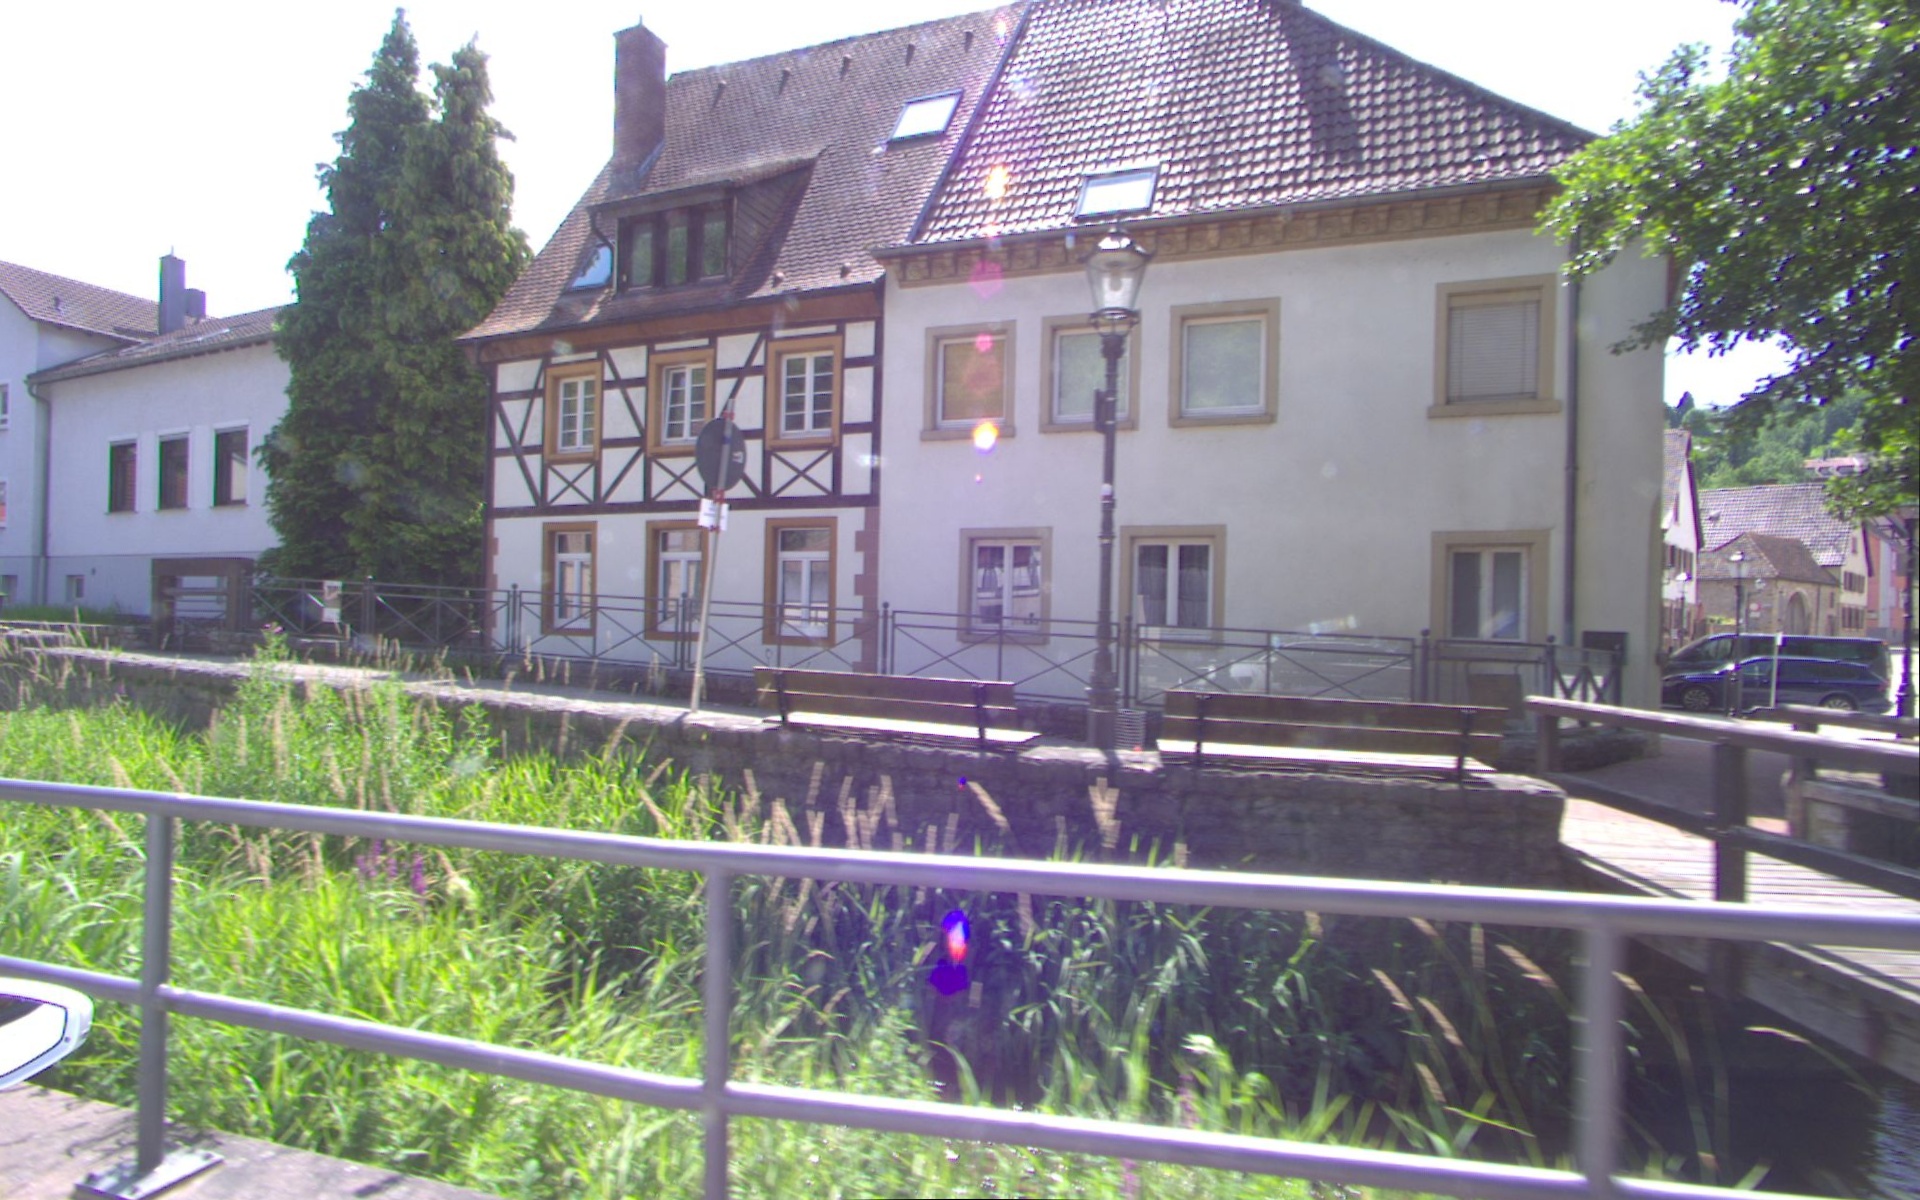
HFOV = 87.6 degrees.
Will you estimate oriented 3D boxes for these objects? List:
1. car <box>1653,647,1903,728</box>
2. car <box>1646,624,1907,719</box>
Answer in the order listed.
[{"bbox_3d":[19.627,2.041,24.308,4.475,1.501,1.581,3,1,33],"label":"car"},{"bbox_3d":[21.356,1.803,26.544,5.049,2.054,1.949,3,1,33],"label":"car"}]
